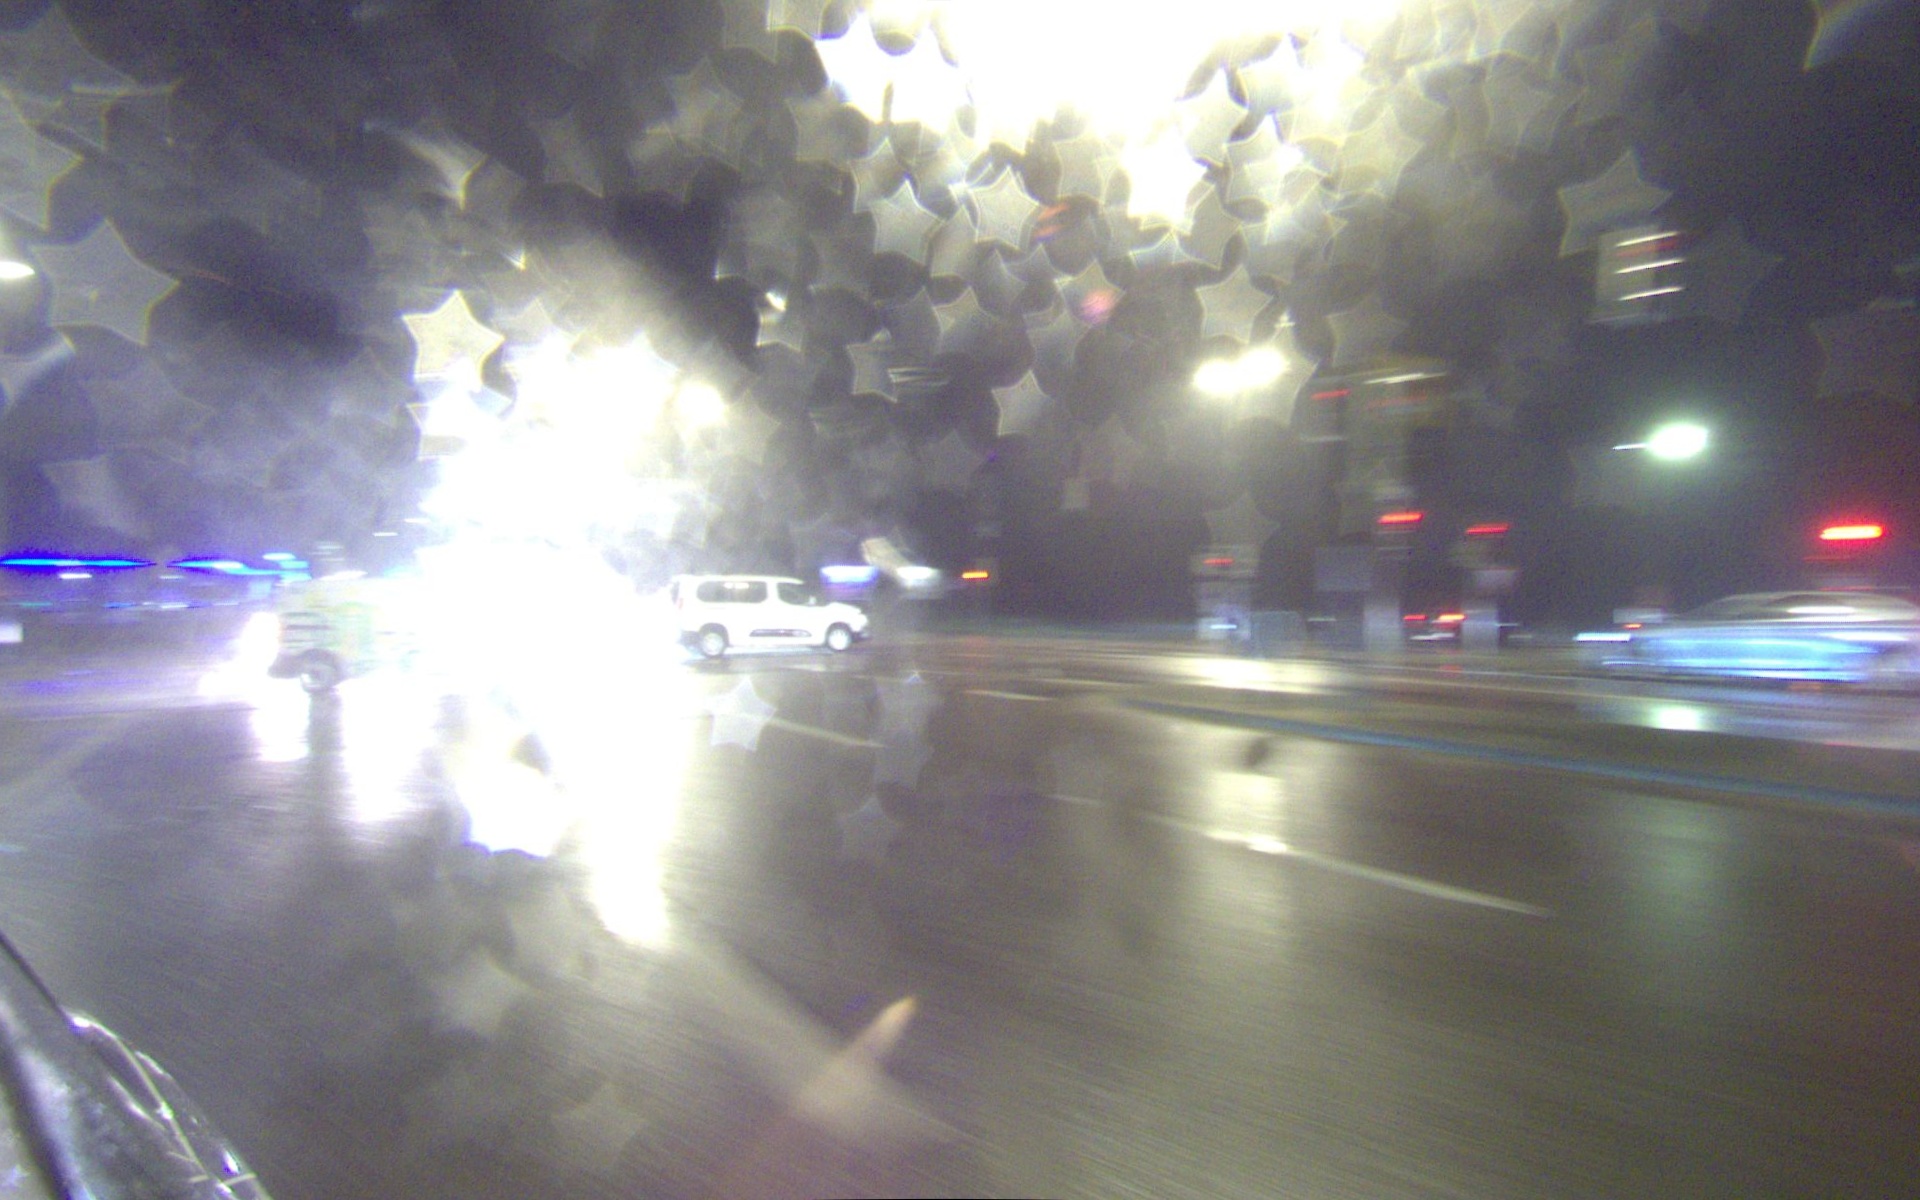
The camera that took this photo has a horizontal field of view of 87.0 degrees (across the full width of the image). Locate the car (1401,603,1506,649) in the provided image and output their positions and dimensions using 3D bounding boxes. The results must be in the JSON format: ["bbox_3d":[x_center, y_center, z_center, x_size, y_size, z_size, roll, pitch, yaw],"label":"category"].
[{"bbox_3d":[16.692,0.831,34.157,4.059,1.418,1.838,0,0,-43],"label":"car"}]

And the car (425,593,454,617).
[{"bbox_3d":[-42.814,0.411,83.208,1.815,1.705,4.013,-4,4,-30],"label":"car"}]

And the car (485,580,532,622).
[{"bbox_3d":[-23.866,-0.002,53.402,1.763,2.039,4.159,-2,2,-31],"label":"car"}]

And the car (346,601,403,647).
[{"bbox_3d":[-24.350,0.938,42.030,1.925,1.645,4.272,-2,2,-31],"label":"car"}]

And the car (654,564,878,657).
[{"bbox_3d":[-4.475,0.182,23.422,4.640,1.806,2.007,-3,2,-27],"label":"car"}]

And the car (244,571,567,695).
[{"bbox_3d":[-9.027,0.445,16.891,4.479,1.844,1.789,-1,2,-24],"label":"car"}]

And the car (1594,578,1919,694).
[{"bbox_3d":[12.102,0.420,14.508,1.736,1.438,4.817,-1,2,-33],"label":"car"}]

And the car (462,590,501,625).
[{"bbox_3d":[-28.903,0.425,61.097,1.684,1.952,3.621,-1,2,-32],"label":"car"}]

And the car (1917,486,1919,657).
[{"bbox_3d":[17.240,-0.459,13.828,2.218,2.730,5.627,-3,2,-19],"label":"car"}]

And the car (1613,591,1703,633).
[{"bbox_3d":[28.726,0.463,41.612,4.220,1.447,1.746,-4,2,-36],"label":"car"}]

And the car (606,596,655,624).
[{"bbox_3d":[-20.463,0.571,62.747,1.805,1.485,4.049,-3,3,-34],"label":"car"}]

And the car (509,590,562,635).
[{"bbox_3d":[-19.555,0.510,46.566,1.639,1.867,4.159,-2,2,-31],"label":"car"}]

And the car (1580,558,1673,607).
[{"bbox_3d":[31.048,-0.839,47.162,3.931,2.094,1.788,-3,2,-25],"label":"car"}]
